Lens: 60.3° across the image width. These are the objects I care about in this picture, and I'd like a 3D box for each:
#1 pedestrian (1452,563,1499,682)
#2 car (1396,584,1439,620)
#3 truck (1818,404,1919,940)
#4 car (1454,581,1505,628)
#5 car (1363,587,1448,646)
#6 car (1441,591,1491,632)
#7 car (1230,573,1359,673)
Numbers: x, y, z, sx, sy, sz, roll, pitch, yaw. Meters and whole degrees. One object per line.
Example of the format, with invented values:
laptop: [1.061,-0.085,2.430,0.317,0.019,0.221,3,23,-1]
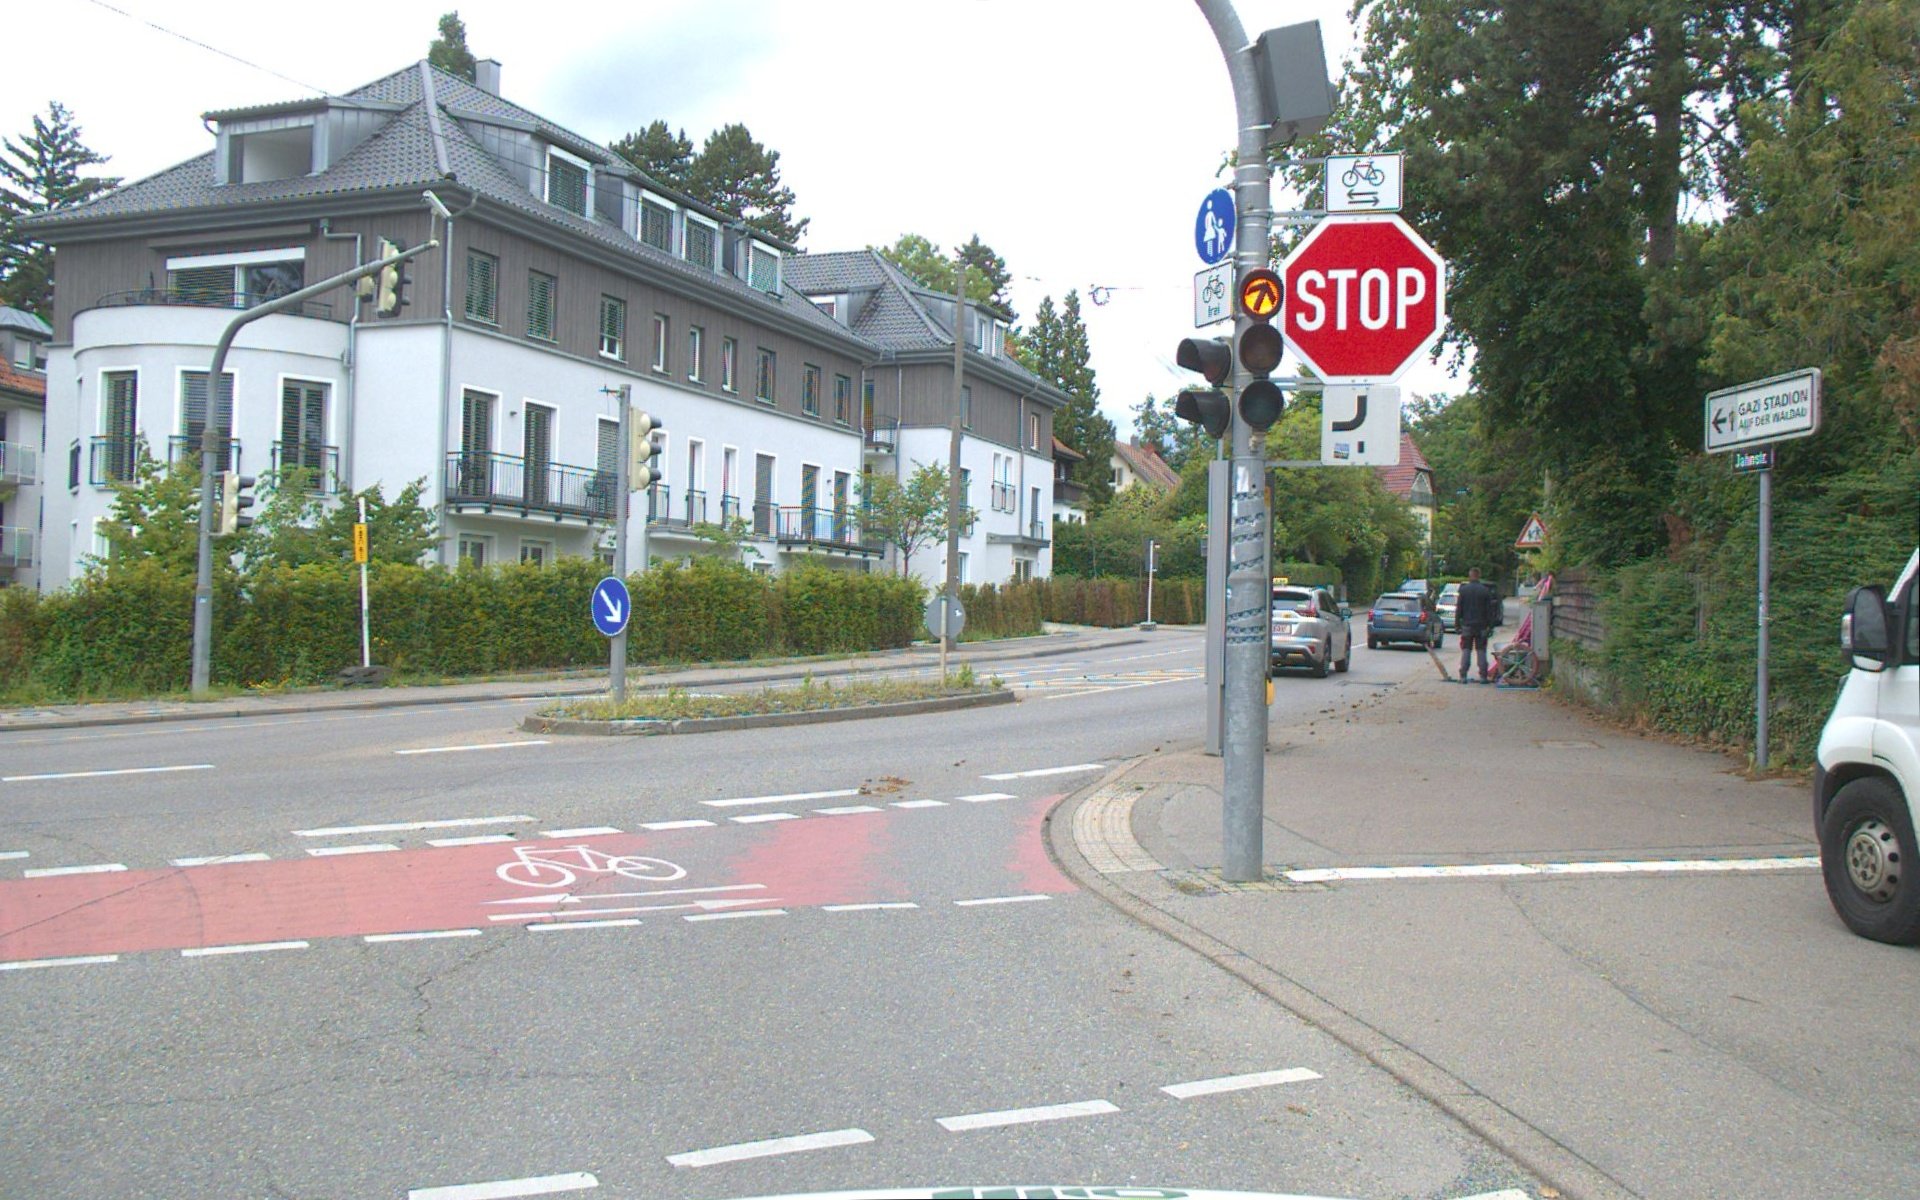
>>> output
pedestrian: [8.574,0.371,27.536,0.584,1.940,0.558,1,0,0]
car: [25.846,0.129,93.321,1.873,1.913,5.142,-1,-1,21]
truck: [5.138,0.321,5.023,2.162,2.283,5.724,1,0,1]
car: [23.118,0.178,73.503,1.879,1.927,4.909,2,1,20]
car: [12.379,0.425,45.756,1.763,1.553,4.743,-1,0,21]
car: [18.702,0.416,61.095,1.658,1.455,3.750,-1,0,18]
car: [6.472,0.402,31.669,1.770,1.784,4.488,-1,0,20]
